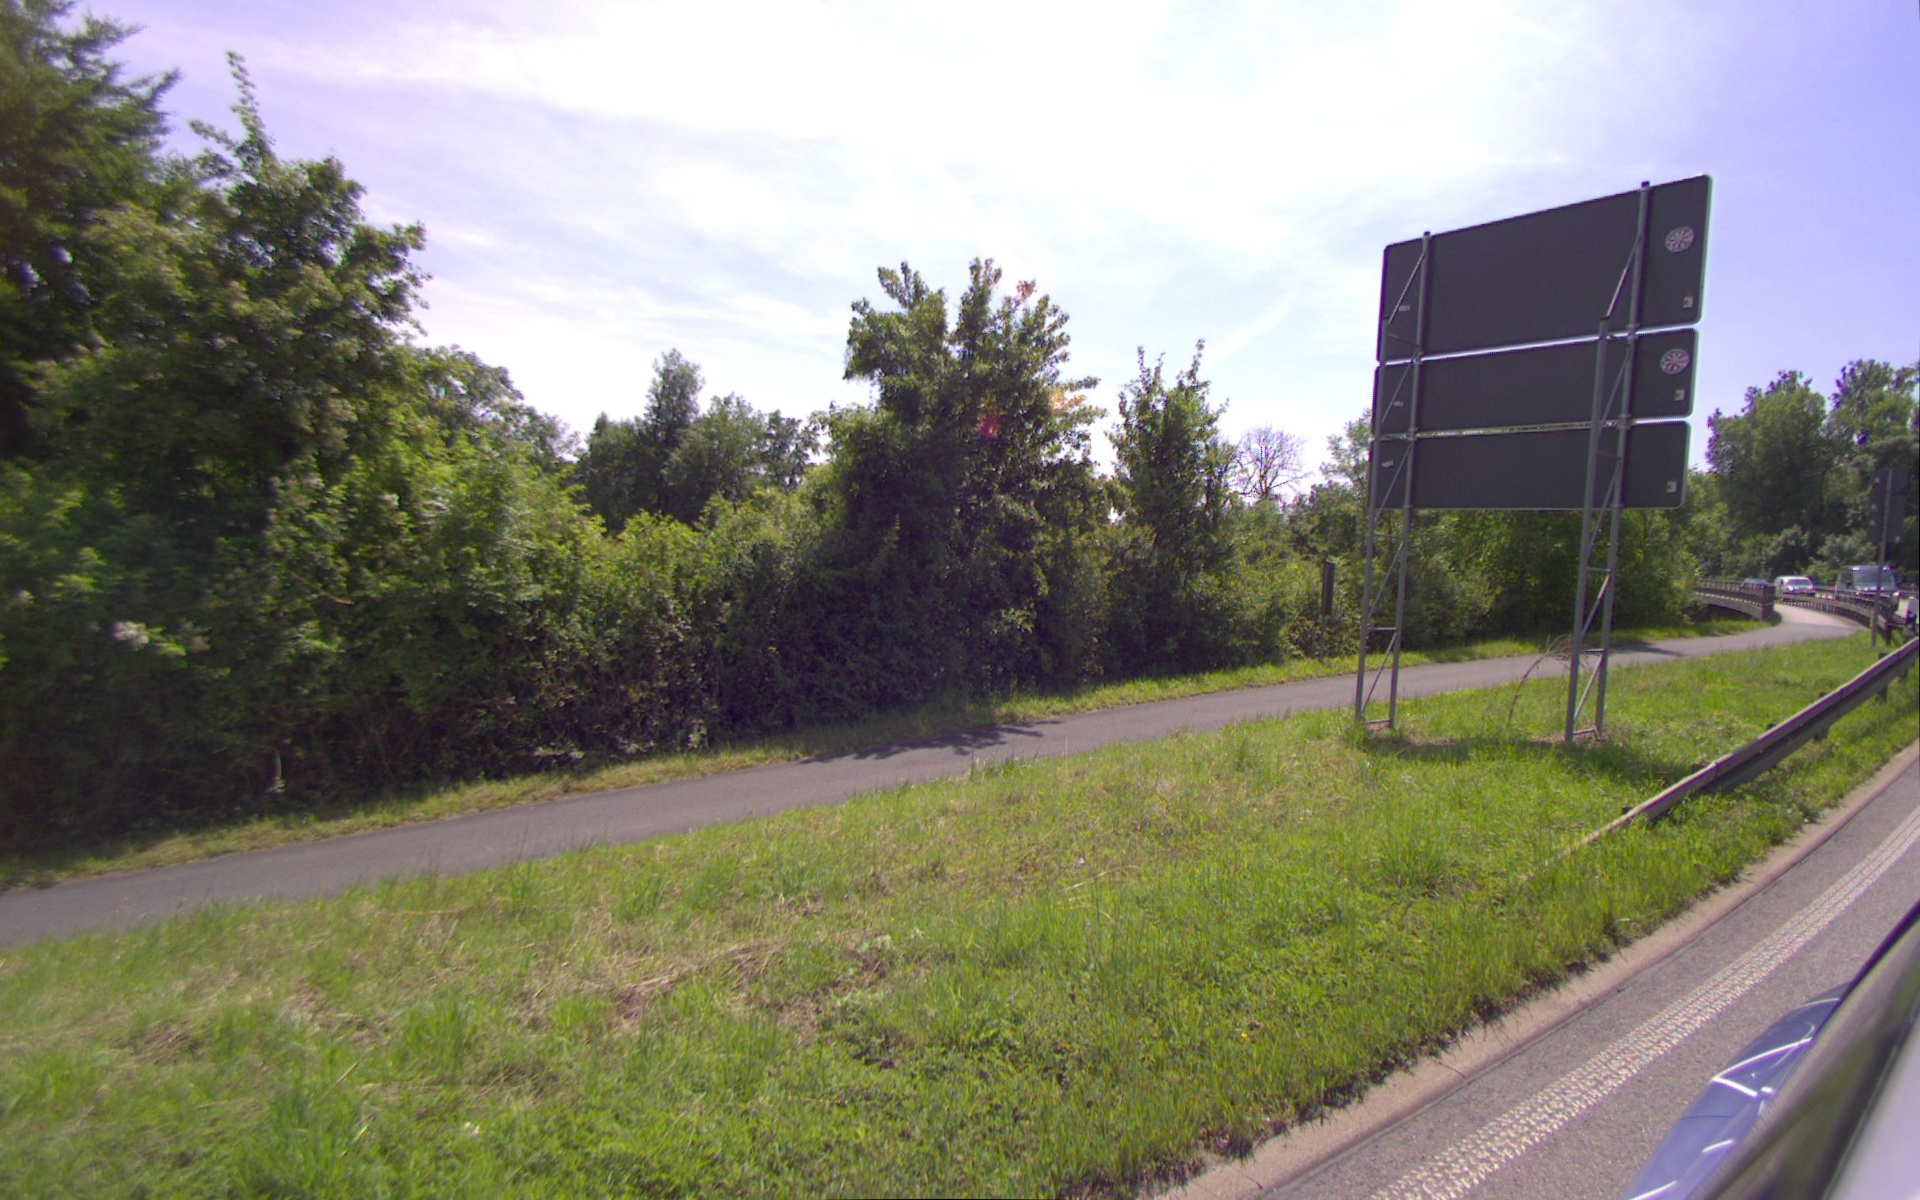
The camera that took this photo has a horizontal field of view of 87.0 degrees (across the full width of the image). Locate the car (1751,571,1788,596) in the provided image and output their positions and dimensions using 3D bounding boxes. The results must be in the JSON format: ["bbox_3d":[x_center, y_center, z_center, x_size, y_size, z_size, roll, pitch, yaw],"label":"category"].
[{"bbox_3d":[70.148,-1.477,87.778,1.984,2.038,3.956,0,2,32],"label":"car"}]

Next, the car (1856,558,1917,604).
[{"bbox_3d":[53.087,-1.122,58.056,1.988,2.515,4.798,0,2,36],"label":"car"}]

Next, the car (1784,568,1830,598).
[{"bbox_3d":[61.815,-1.243,73.949,1.985,2.038,4.660,0,2,32],"label":"car"}]
